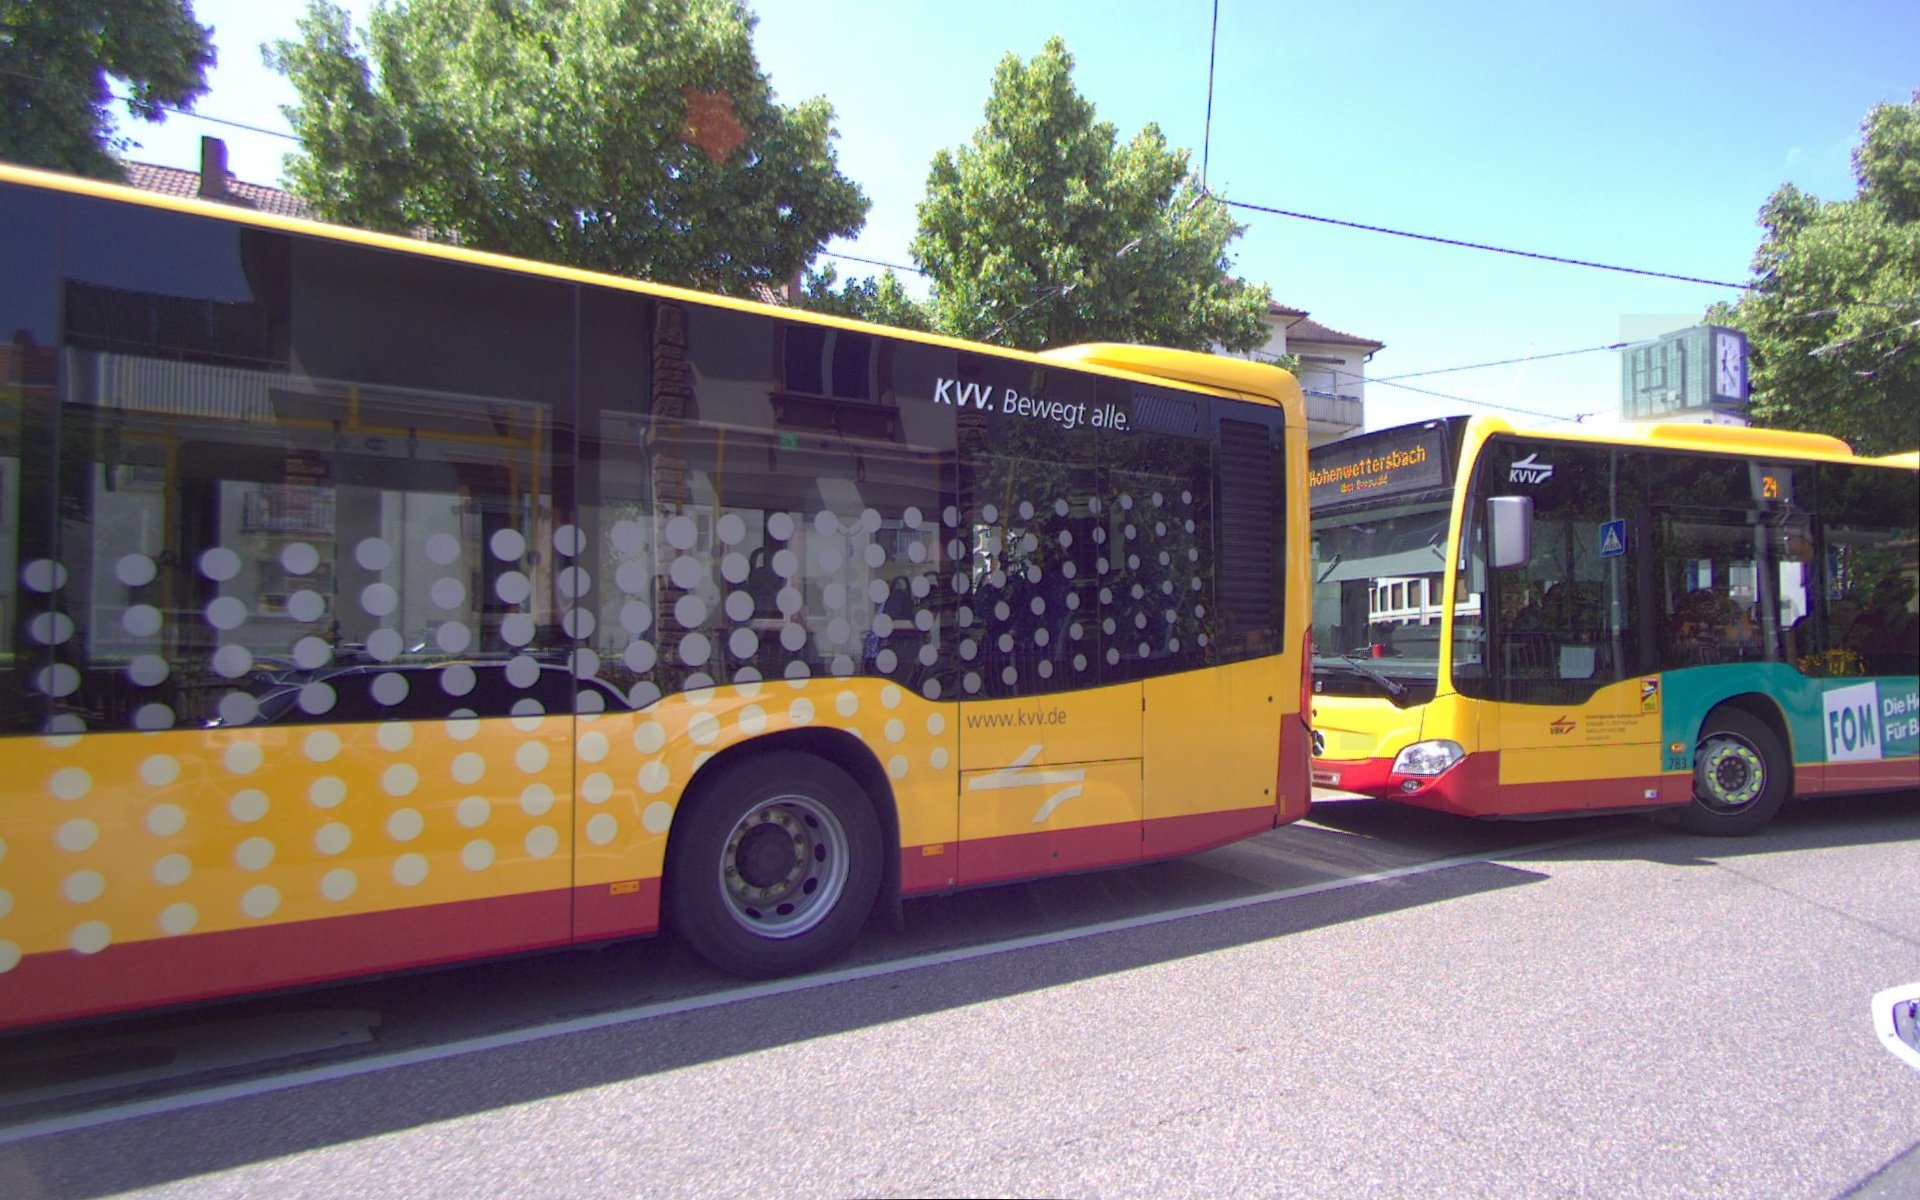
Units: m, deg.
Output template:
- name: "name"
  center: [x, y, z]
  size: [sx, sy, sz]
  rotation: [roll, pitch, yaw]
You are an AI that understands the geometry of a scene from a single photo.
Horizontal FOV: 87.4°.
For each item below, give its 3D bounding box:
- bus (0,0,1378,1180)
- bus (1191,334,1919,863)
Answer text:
- name: "bus"
  center: [-3.458, -0.048, 3.963]
  size: [11.980, 3.291, 2.892]
  rotation: [2, -1, -31]
- name: "bus"
  center: [8.195, 0.065, 9.473]
  size: [12.114, 3.251, 2.777]
  rotation: [1, 0, -19]
